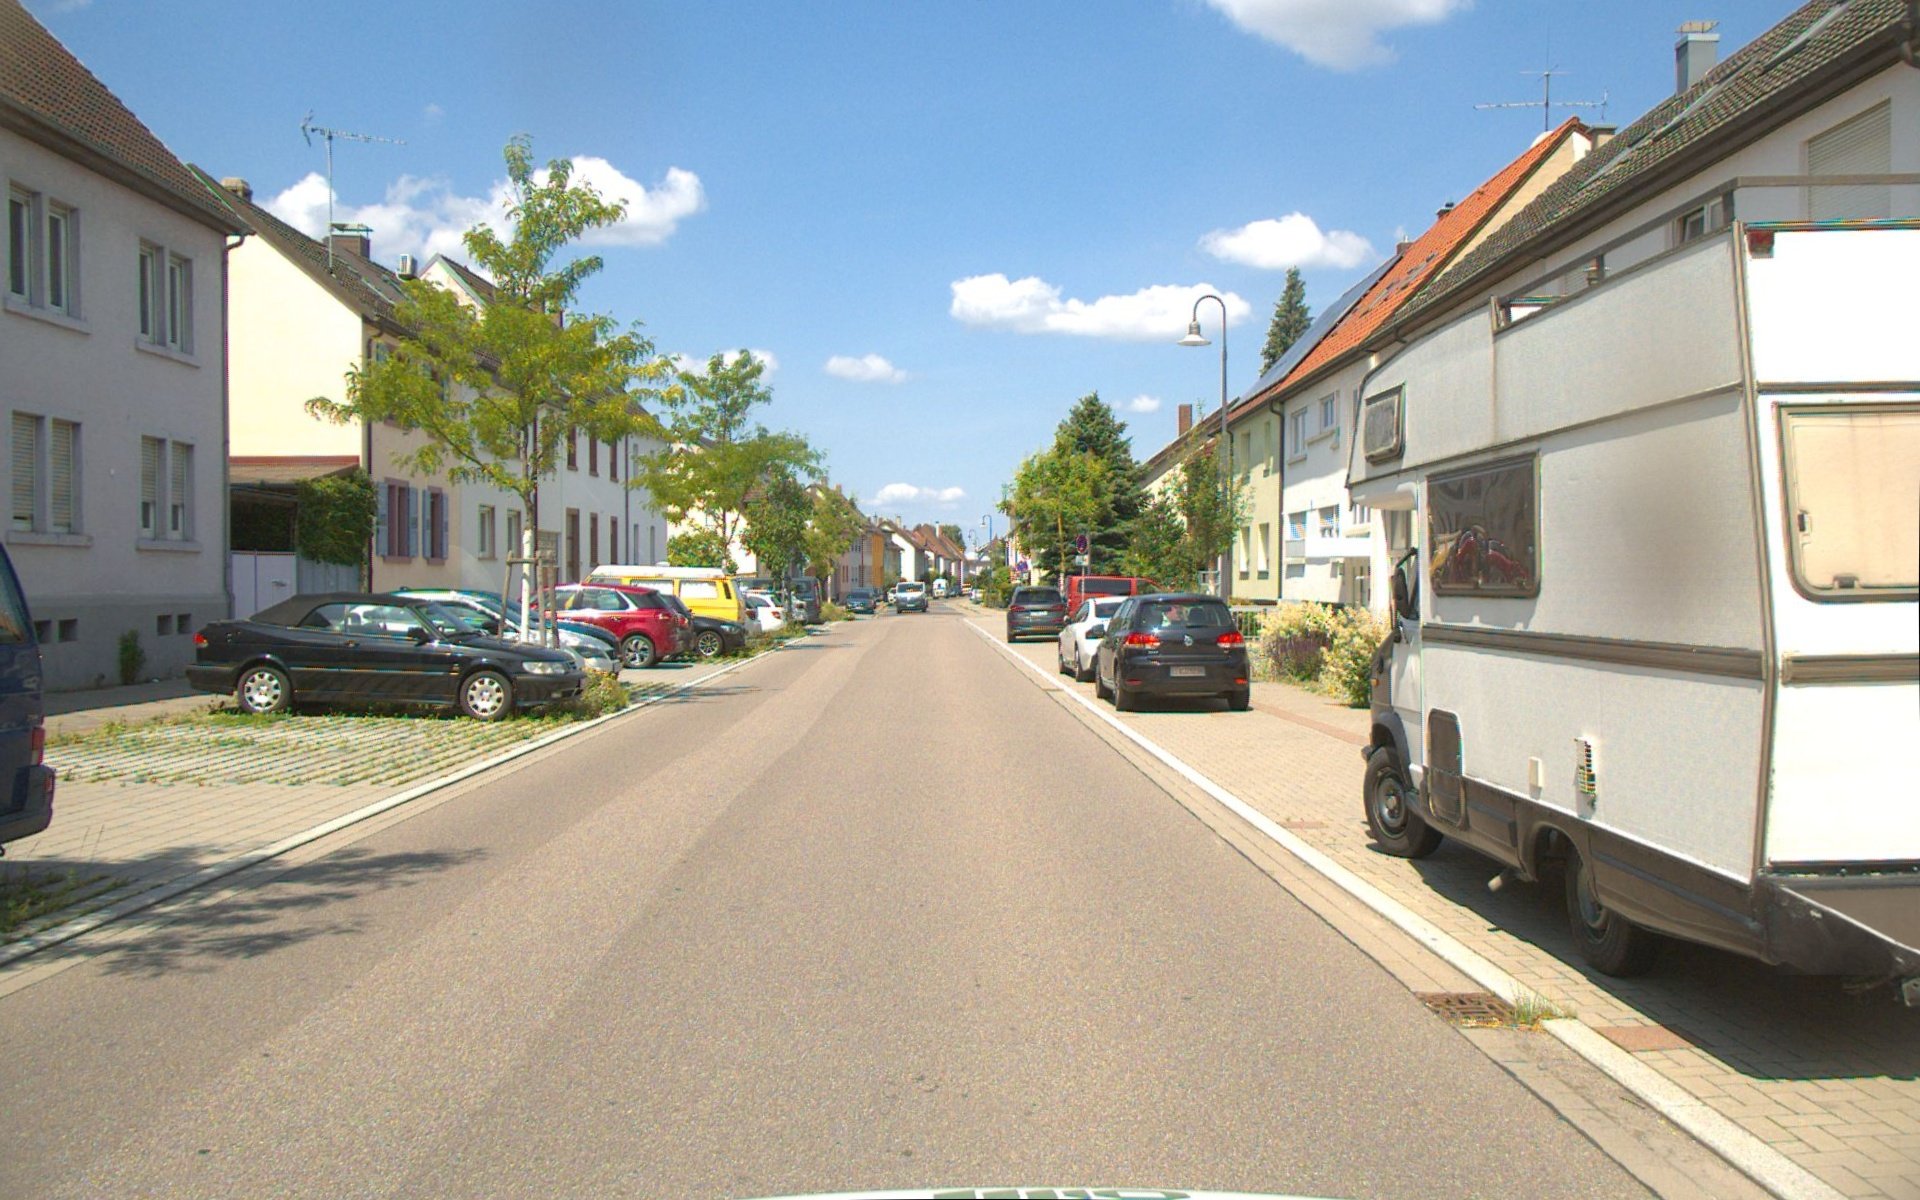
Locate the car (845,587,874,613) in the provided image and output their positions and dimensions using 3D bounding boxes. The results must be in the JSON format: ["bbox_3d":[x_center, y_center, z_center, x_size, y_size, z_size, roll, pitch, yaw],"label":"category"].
[{"bbox_3d":[-6.547,0.009,108.182,1.780,1.458,4.137,3,1,-4],"label":"car"}]

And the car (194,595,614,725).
[{"bbox_3d":[-6.569,0.690,19.914,4.432,1.450,1.795,1,0,-2],"label":"car"}]

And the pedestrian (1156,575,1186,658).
[{"bbox_3d":[4.573,0.351,35.844,0.546,1.779,0.673,-1,-1,-1],"label":"pedestrian"}]

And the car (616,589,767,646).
[{"bbox_3d":[-7.350,0.473,45.448,3.997,1.493,1.750,1,0,-10],"label":"car"}]

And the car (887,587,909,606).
[{"bbox_3d":[-5.879,-0.317,157.115,1.811,1.688,4.001,2,0,2],"label":"car"}]

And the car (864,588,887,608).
[{"bbox_3d":[-7.324,-0.149,143.789,1.774,1.637,3.999,2,0,-1],"label":"car"}]

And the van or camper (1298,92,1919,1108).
[{"bbox_3d":[3.451,-0.062,7.602,2.423,2.859,5.789,-2,1,-1],"label":"van or camper"}]

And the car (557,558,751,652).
[{"bbox_3d":[-7.508,0.119,40.903,4.417,2.215,1.925,1,0,-1],"label":"car"}]

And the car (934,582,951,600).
[{"bbox_3d":[-2.365,-1.191,226.992,2.002,2.352,3.772,1,0,3],"label":"car"}]

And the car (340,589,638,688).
[{"bbox_3d":[-7.483,0.602,26.599,4.317,1.503,1.774,1,0,-5],"label":"car"}]

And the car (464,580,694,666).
[{"bbox_3d":[-7.530,0.442,33.001,4.167,1.639,1.842,1,0,-2],"label":"car"}]

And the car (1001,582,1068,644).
[{"bbox_3d":[2.194,0.348,49.637,1.826,1.664,4.447,-3,1,1],"label":"car"}]

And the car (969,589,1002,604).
[{"bbox_3d":[2.658,-0.397,173.136,3.452,1.490,1.628,1,0,-1],"label":"car"}]

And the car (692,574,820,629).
[{"bbox_3d":[-7.735,0.056,63.058,4.605,1.957,1.937,1,0,-2],"label":"car"}]

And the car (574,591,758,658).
[{"bbox_3d":[-6.727,0.548,38.125,3.928,1.485,1.755,1,0,-1],"label":"car"}]

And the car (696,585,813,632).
[{"bbox_3d":[-7.460,0.313,60.341,4.101,1.596,1.772,1,0,-5],"label":"car"}]

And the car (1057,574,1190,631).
[{"bbox_3d":[5.847,0.100,59.506,4.526,1.927,2.019,1,-1,-3],"label":"car"}]

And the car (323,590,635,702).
[{"bbox_3d":[-6.783,0.631,23.670,3.973,1.503,1.774,1,0,-4],"label":"car"}]

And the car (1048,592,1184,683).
[{"bbox_3d":[2.715,0.611,29.736,1.795,1.491,4.517,0,0,-3],"label":"car"}]

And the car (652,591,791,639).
[{"bbox_3d":[-7.667,0.473,53.455,4.206,1.493,1.774,1,0,0],"label":"car"}]

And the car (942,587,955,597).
[{"bbox_3d":[-1.747,-1.189,249.114,1.656,1.530,3.772,1,0,3],"label":"car"}]

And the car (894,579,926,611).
[{"bbox_3d":[-3.216,-0.274,106.430,1.982,1.984,4.896,-1,0,-2],"label":"car"}]

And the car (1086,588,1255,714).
[{"bbox_3d":[2.766,0.622,22.520,1.731,1.556,4.006,0,0,-1],"label":"car"}]

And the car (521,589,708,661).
[{"bbox_3d":[-7.431,0.522,35.821,3.716,1.485,1.754,1,0,-4],"label":"car"}]

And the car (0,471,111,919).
[{"bbox_3d":[-6.599,0.407,7.439,4.518,2.031,1.953,1,0,0],"label":"car"}]

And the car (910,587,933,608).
[{"bbox_3d":[-3.045,-0.187,131.282,1.727,1.549,4.047,-2,0,-2],"label":"car"}]

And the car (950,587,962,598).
[{"bbox_3d":[-0.581,-1.130,256.612,1.656,1.689,3.772,1,0,3],"label":"car"}]
